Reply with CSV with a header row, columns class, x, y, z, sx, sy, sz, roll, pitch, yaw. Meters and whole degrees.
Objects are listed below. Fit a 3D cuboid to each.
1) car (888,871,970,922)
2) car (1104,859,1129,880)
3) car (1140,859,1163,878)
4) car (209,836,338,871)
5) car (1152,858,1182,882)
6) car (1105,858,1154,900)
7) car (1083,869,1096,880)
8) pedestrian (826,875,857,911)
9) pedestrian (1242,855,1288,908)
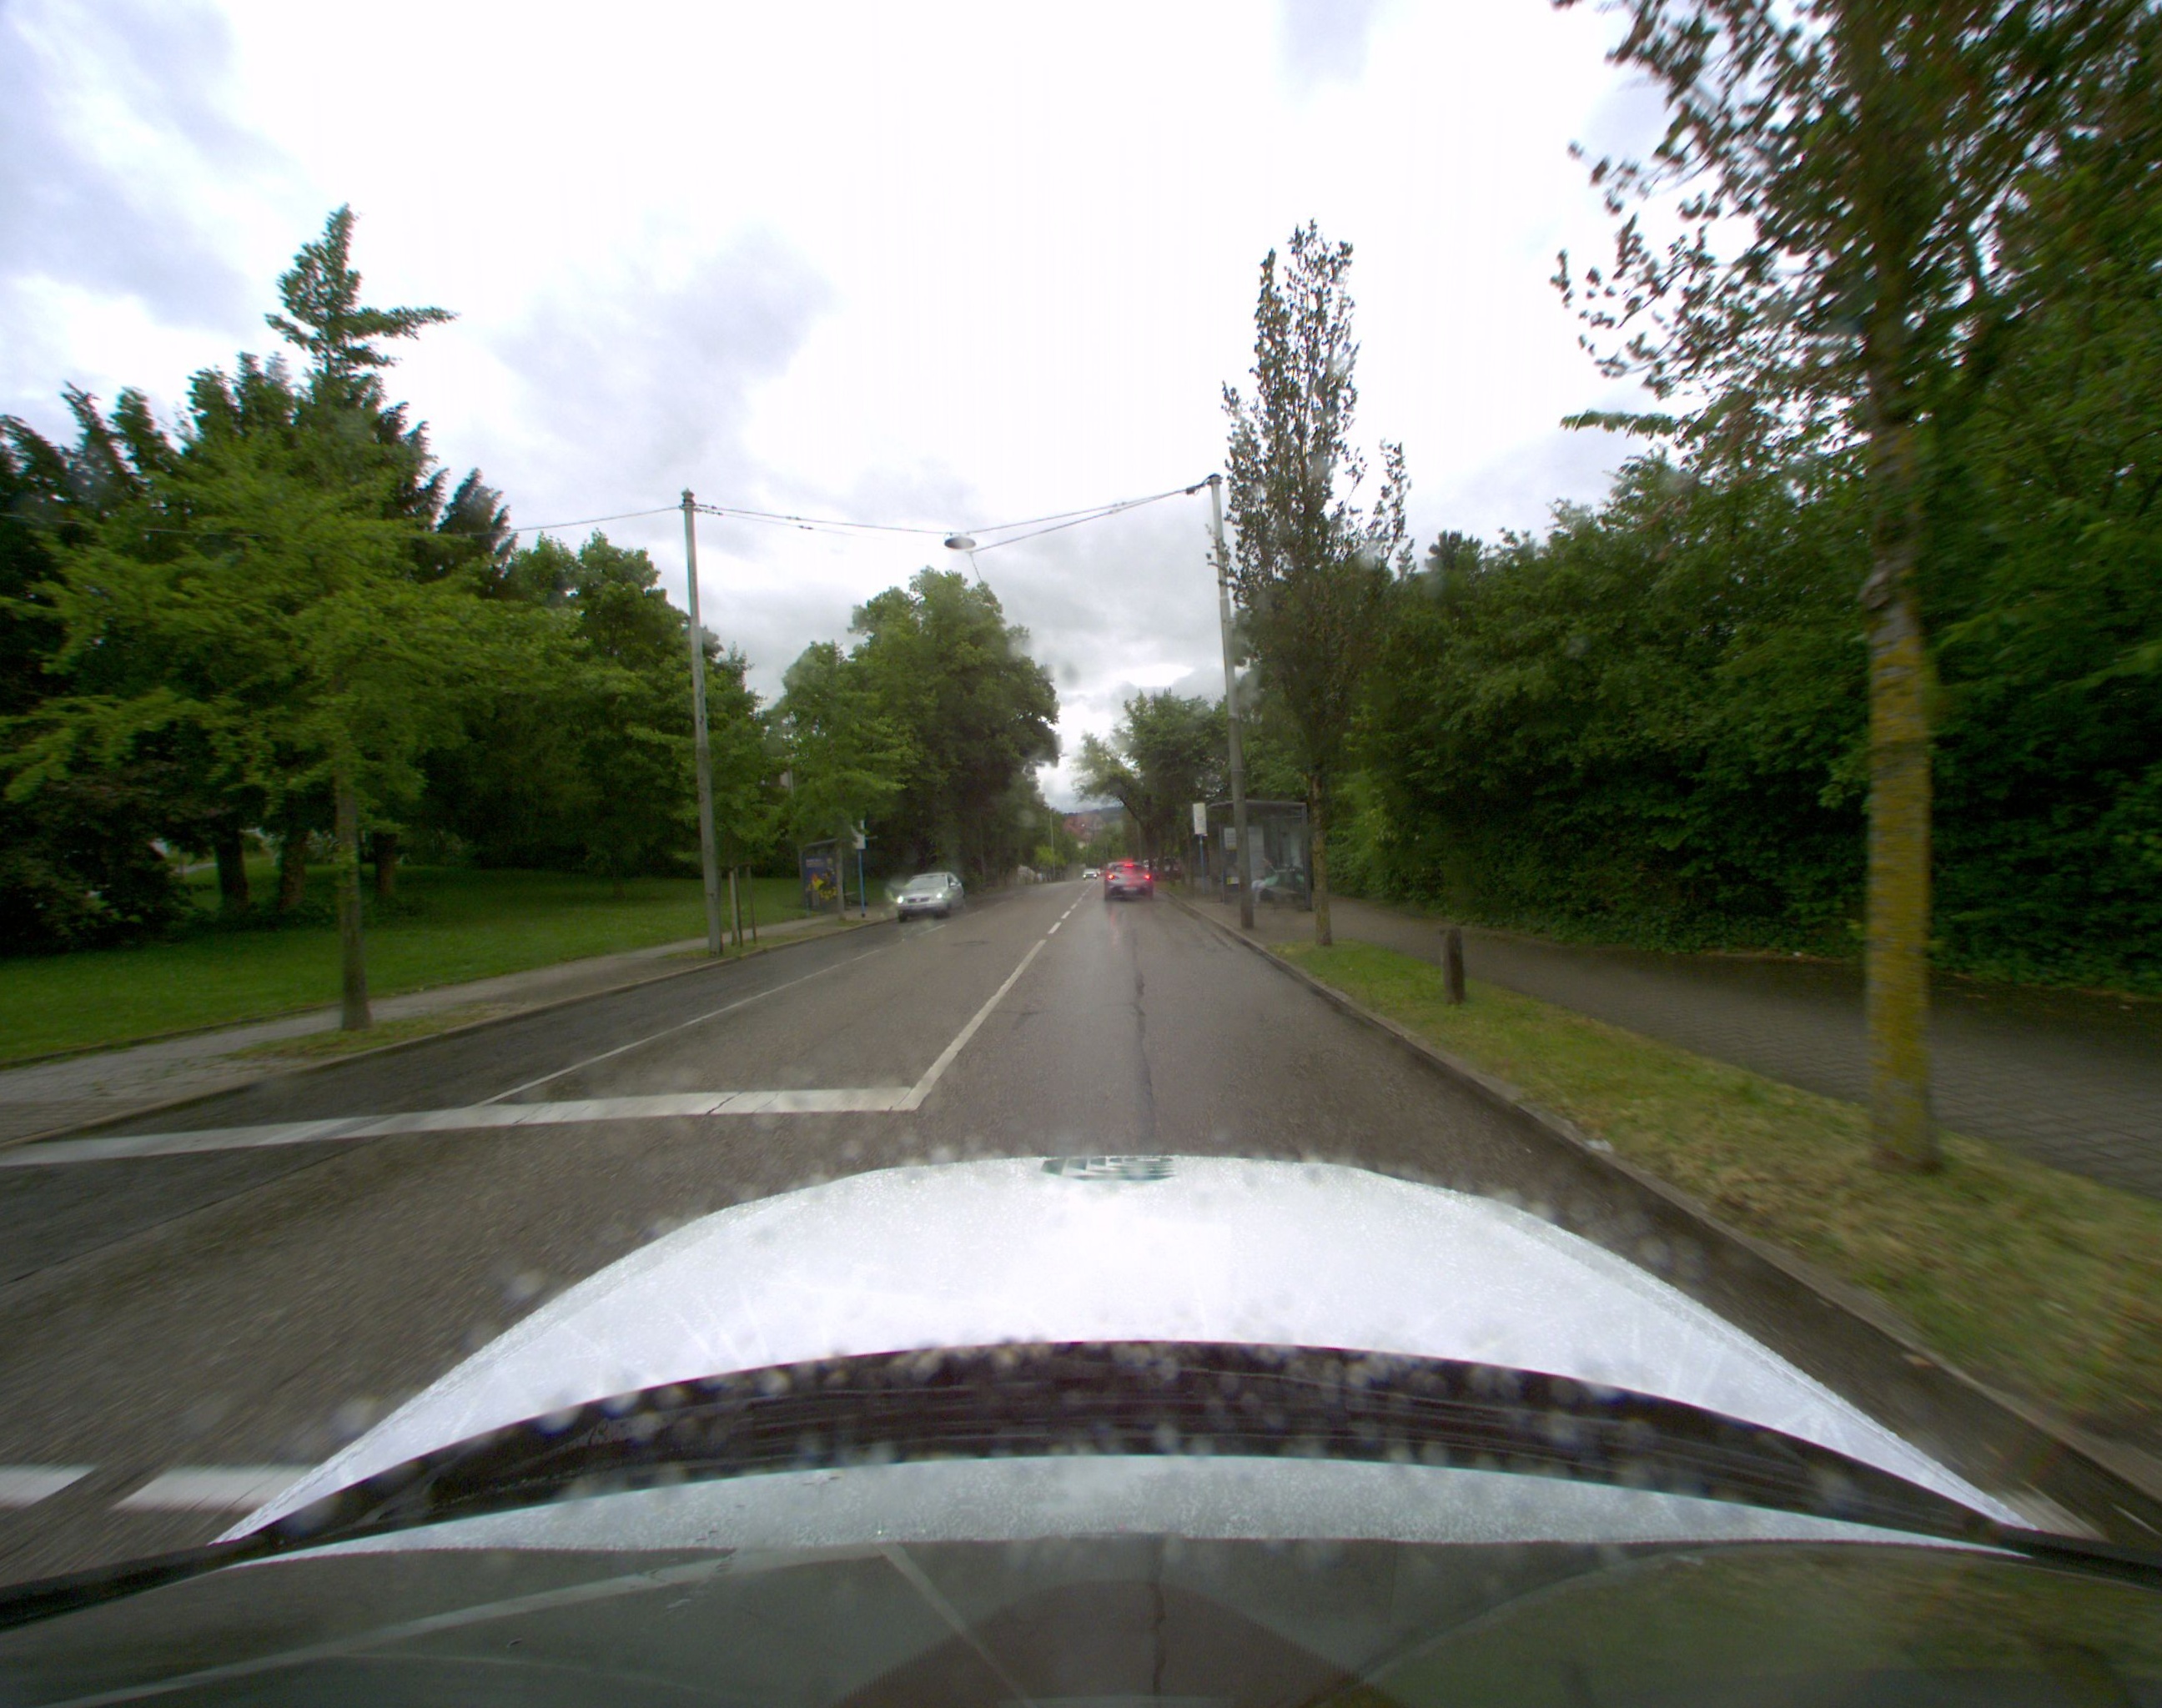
class,x,y,z,sx,sy,sz,roll,pitch,yaw
car,-4.903,1.329,26.782,1.715,1.399,4.002,-4,-1,2
car,2.553,1.142,58.529,1.747,1.464,4.002,-1,-2,2
car,6.083,1.241,70.333,1.715,1.464,4.003,-4,0,3
car,-38.568,-0.006,39.027,3.911,1.486,1.921,-2,-1,-21
car,5.778,1.045,55.171,1.714,1.464,4.003,-4,0,3
car,1.854,0.918,31.566,1.747,1.464,4.003,-1,0,3
car,1.191,2.868,112.673,1.715,1.464,4.002,0,0,2
pedestrian,-9.874,1.597,33.611,0.932,1.403,0.920,0,0,9
pedestrian,5.030,0.733,22.333,1.067,1.355,0.920,-4,-1,9
